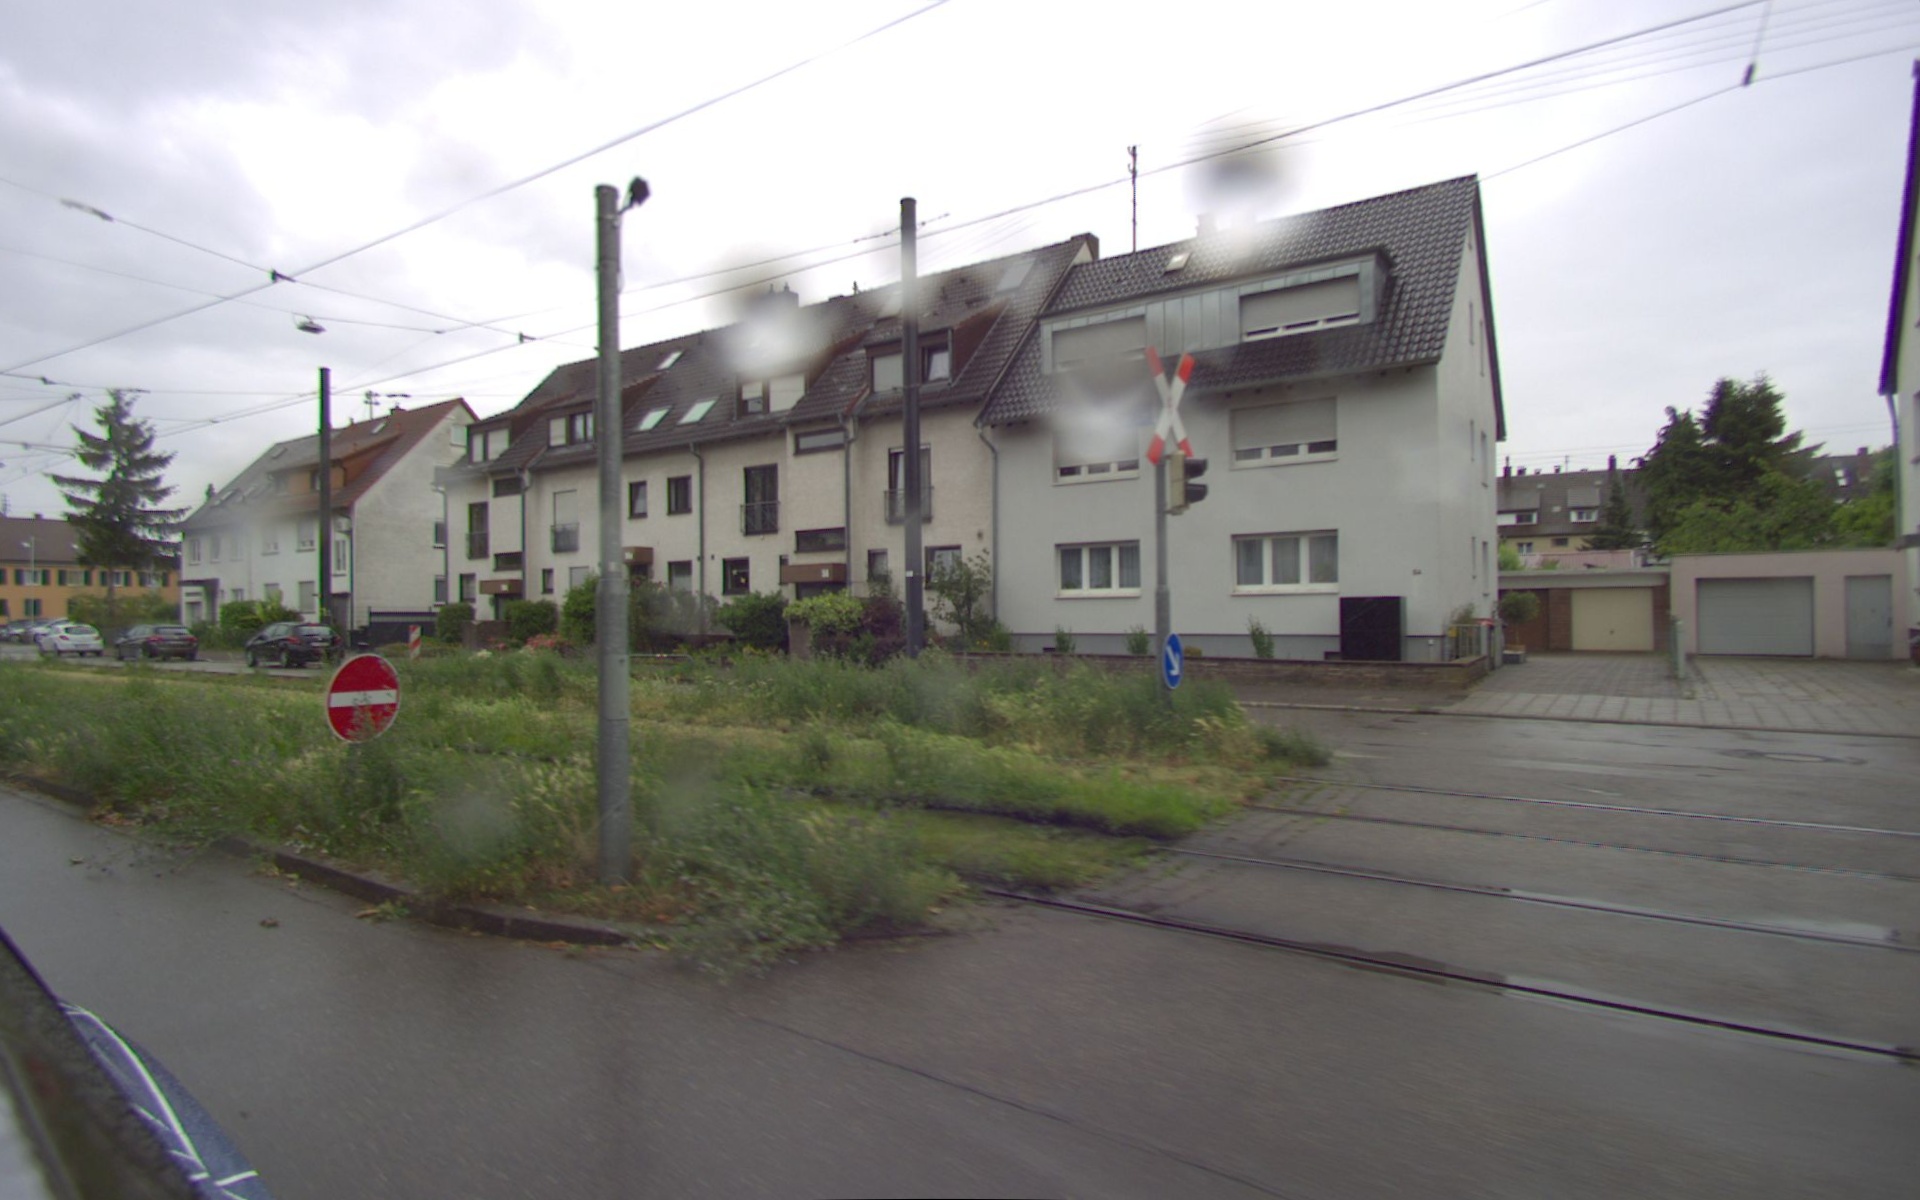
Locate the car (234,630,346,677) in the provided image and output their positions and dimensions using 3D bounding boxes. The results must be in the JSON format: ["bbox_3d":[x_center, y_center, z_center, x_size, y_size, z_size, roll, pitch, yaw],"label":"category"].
[{"bbox_3d":[-21.998,1.719,33.209,3.928,1.437,1.757,-2,-2,35],"label":"car"}]

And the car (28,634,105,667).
[{"bbox_3d":[-41.430,2.330,46.900,3.989,1.451,1.696,-2,-2,34],"label":"car"}]

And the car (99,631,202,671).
[{"bbox_3d":[-32.359,2.009,40.412,4.744,1.543,1.871,-2,-2,34],"label":"car"}]

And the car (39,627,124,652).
[{"bbox_3d":[-58.144,2.576,67.052,1.910,1.475,3.951,-2,0,36],"label":"car"}]

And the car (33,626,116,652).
[{"bbox_3d":[-60.157,2.622,68.780,1.910,1.607,3.951,-2,0,36],"label":"car"}]

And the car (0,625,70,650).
[{"bbox_3d":[-65.616,2.628,71.580,3.939,1.607,1.916,-1,0,-42],"label":"car"}]

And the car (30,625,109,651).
[{"bbox_3d":[-62.086,2.645,70.611,1.913,1.607,3.944,-2,0,42],"label":"car"}]
